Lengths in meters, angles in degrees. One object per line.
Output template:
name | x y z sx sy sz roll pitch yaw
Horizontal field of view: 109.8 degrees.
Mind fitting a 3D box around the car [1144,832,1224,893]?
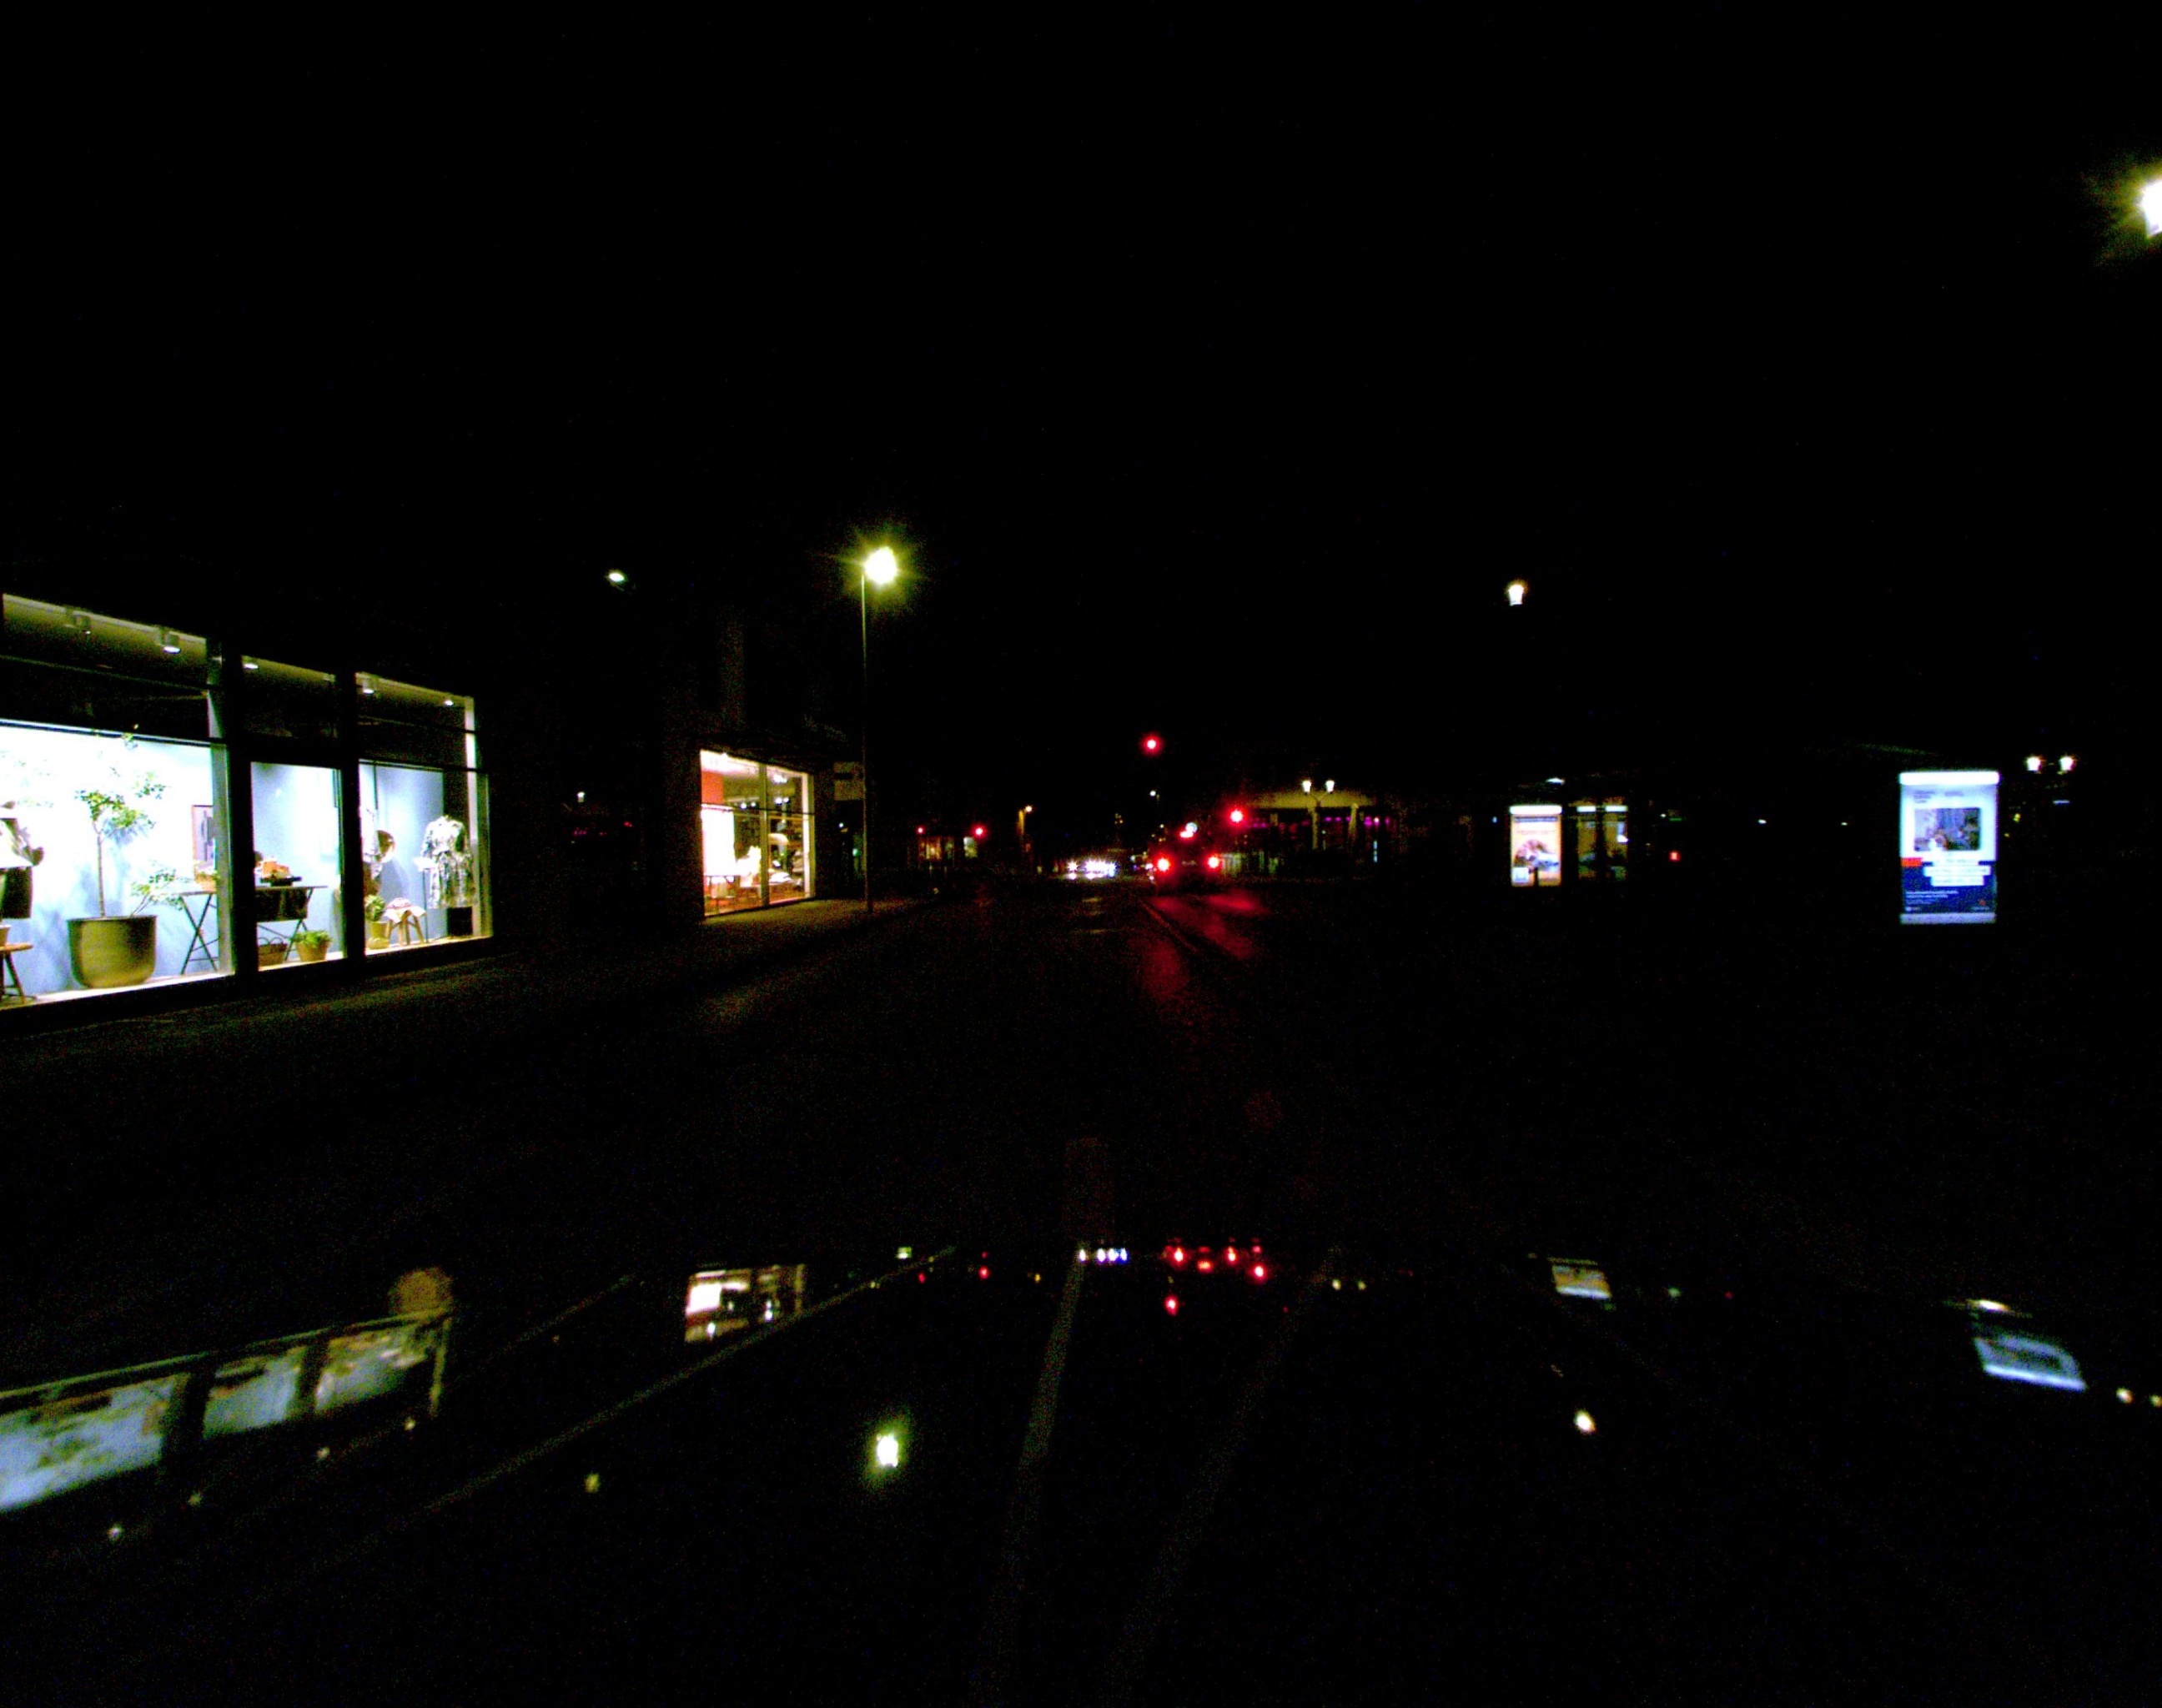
car | 3.382 0.236 25.904 1.972 1.861 4.910 -1 1 -1

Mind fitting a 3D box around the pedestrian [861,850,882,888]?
pedestrian | -9.316 0.659 33.804 0.539 1.672 0.648 -2 1 23

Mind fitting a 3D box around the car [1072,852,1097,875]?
car | 0.280 0.701 60.212 1.713 1.660 3.738 -2 1 3

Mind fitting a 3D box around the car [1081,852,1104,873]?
car | 1.020 0.728 66.898 1.879 1.718 3.999 -2 1 1

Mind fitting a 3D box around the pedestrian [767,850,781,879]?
pedestrian | -18.859 0.641 46.621 0.524 1.707 0.567 -2 1 6

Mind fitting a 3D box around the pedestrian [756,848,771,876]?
pedestrian | -19.536 0.478 46.760 0.567 1.707 0.567 -2 1 7

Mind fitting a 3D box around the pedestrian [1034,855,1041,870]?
pedestrian | -4.219 0.818 73.806 0.647 1.487 0.830 0 1 2
